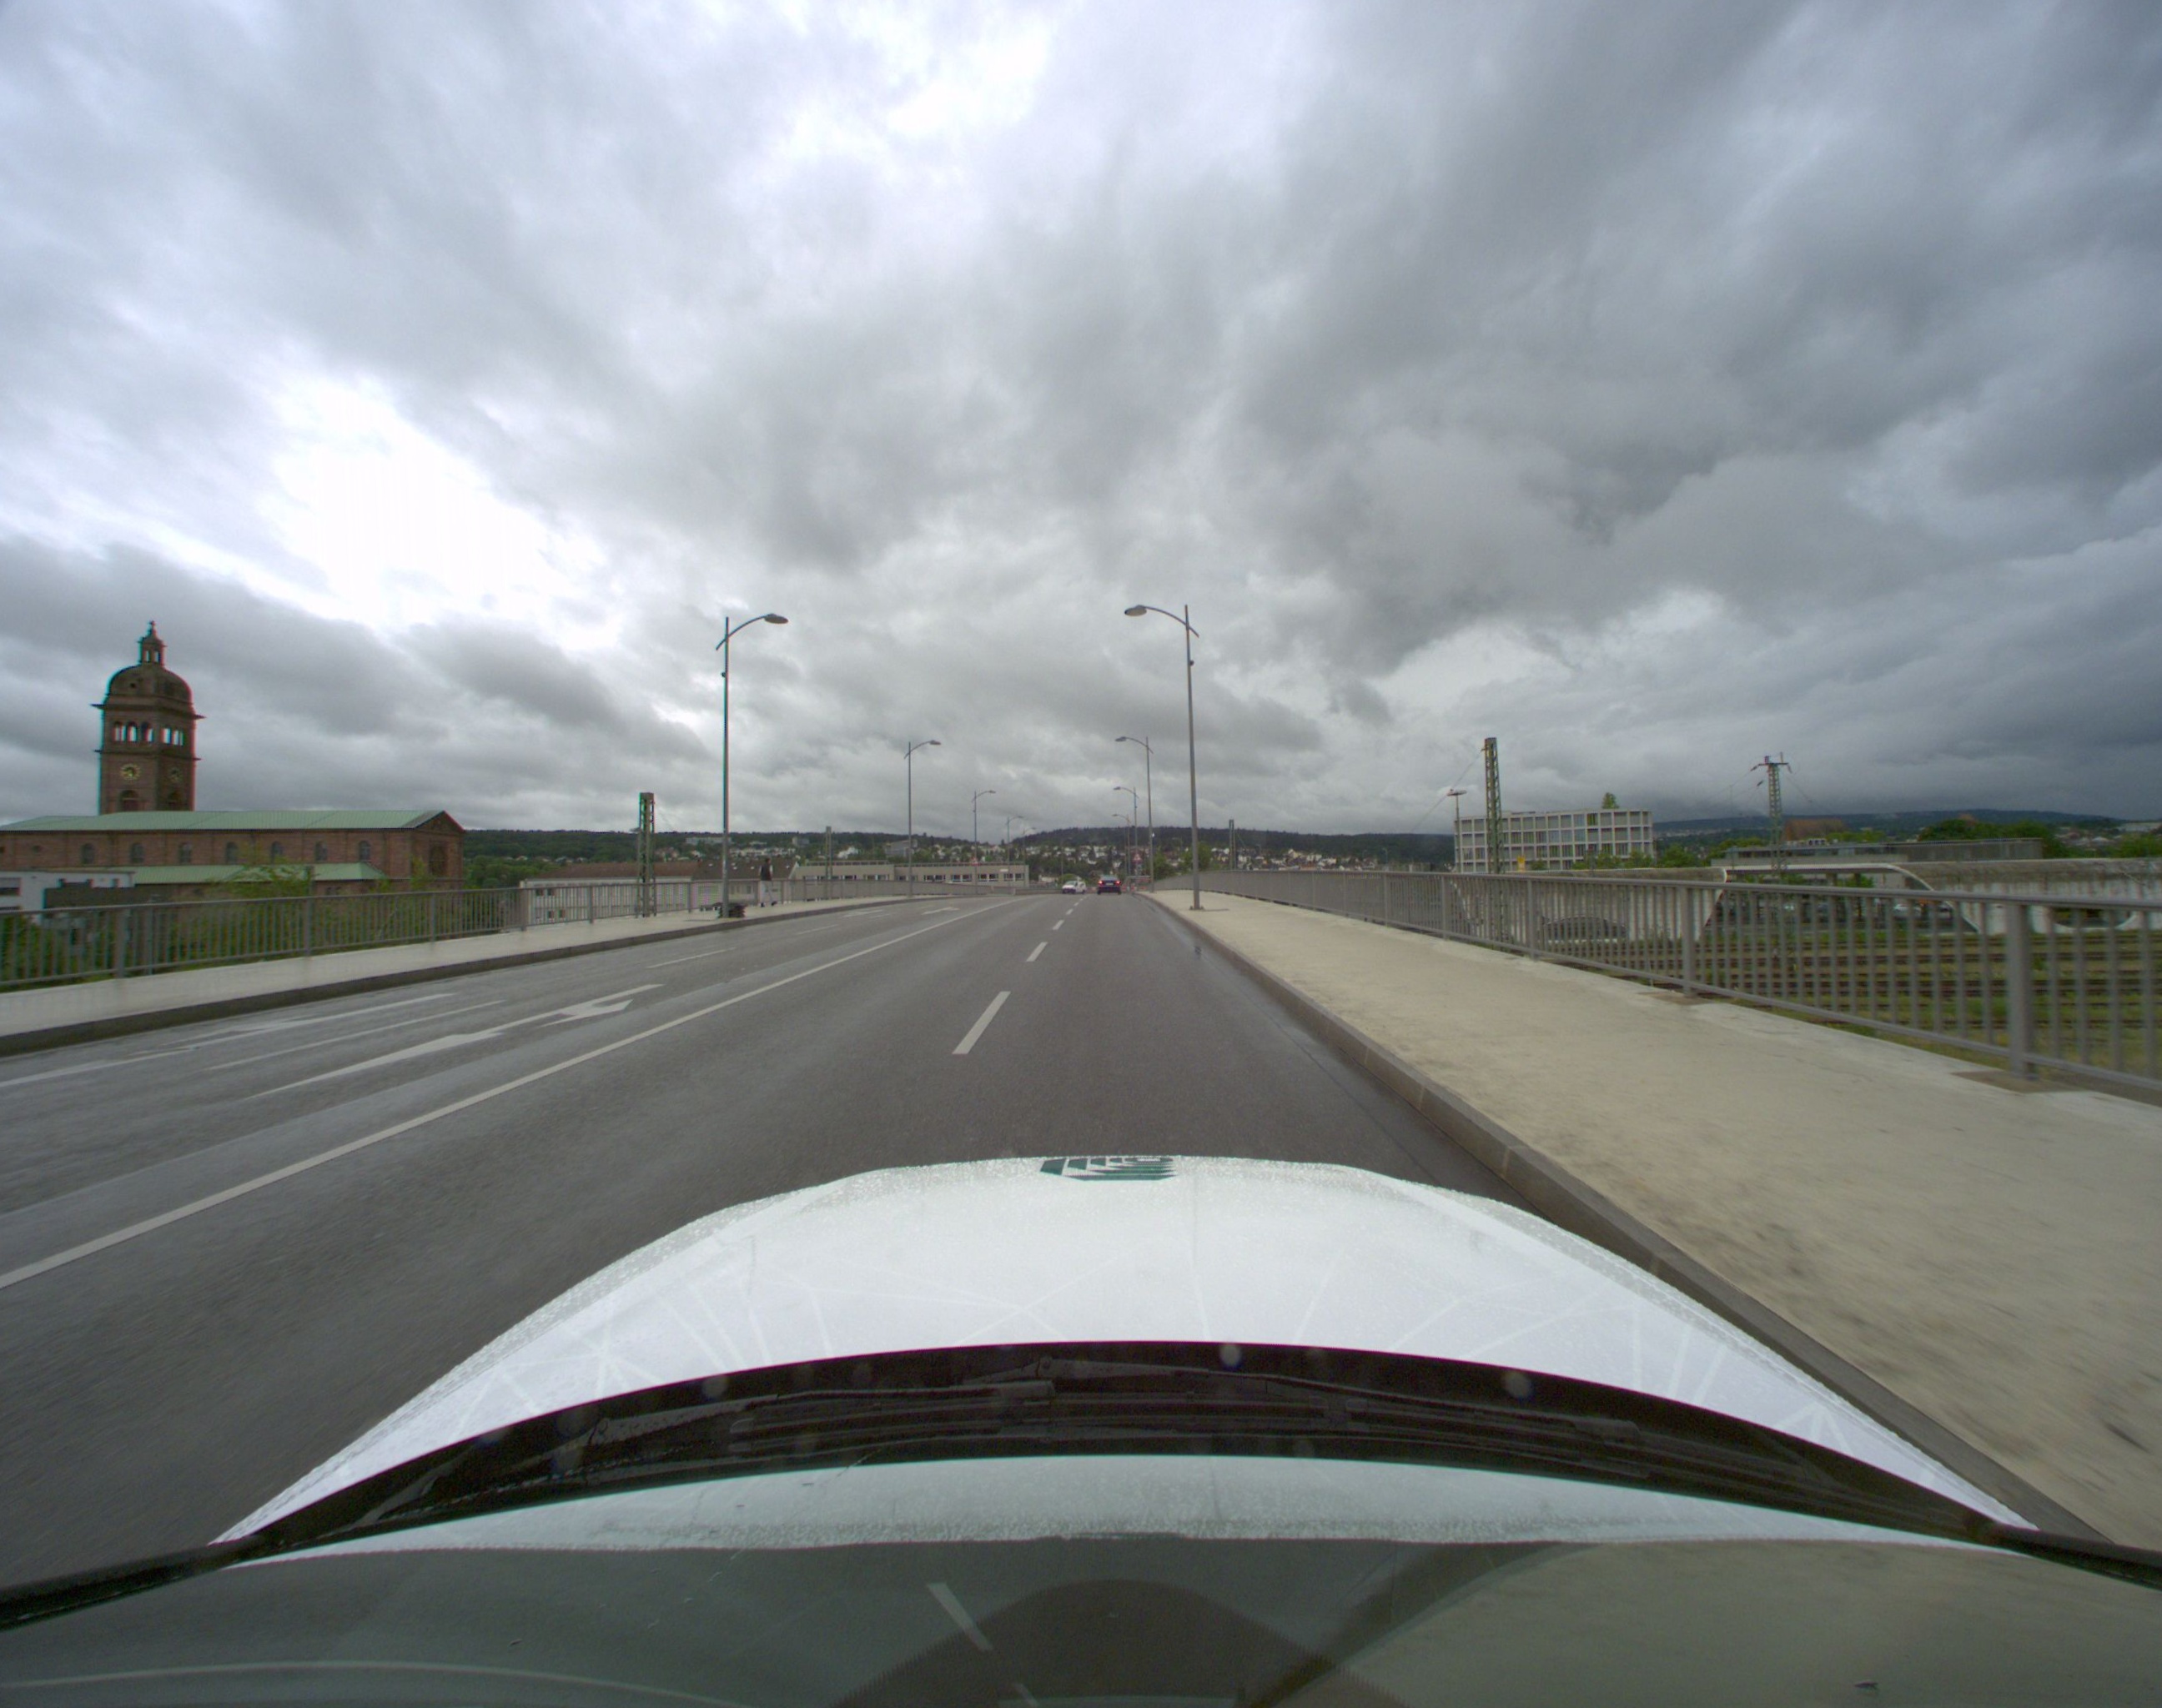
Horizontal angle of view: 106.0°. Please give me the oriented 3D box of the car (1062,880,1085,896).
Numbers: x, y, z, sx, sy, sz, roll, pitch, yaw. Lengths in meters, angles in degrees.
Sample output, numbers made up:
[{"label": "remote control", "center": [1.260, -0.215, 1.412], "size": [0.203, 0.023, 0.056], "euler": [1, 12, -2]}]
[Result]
[{"label": "car", "center": [-1.097, 5.134, 123.200], "size": [1.935, 2.099, 4.113], "euler": [-5, -6, 23]}]

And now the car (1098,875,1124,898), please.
[{"label": "car", "center": [2.110, 2.274, 57.986], "size": [1.747, 1.479, 4.001], "euler": [-1, -1, 2]}]

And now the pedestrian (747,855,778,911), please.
[{"label": "pedestrian", "center": [-11.867, 1.065, 30.351], "size": [0.753, 2.048, 0.892], "euler": [-1, -1, 1]}]
